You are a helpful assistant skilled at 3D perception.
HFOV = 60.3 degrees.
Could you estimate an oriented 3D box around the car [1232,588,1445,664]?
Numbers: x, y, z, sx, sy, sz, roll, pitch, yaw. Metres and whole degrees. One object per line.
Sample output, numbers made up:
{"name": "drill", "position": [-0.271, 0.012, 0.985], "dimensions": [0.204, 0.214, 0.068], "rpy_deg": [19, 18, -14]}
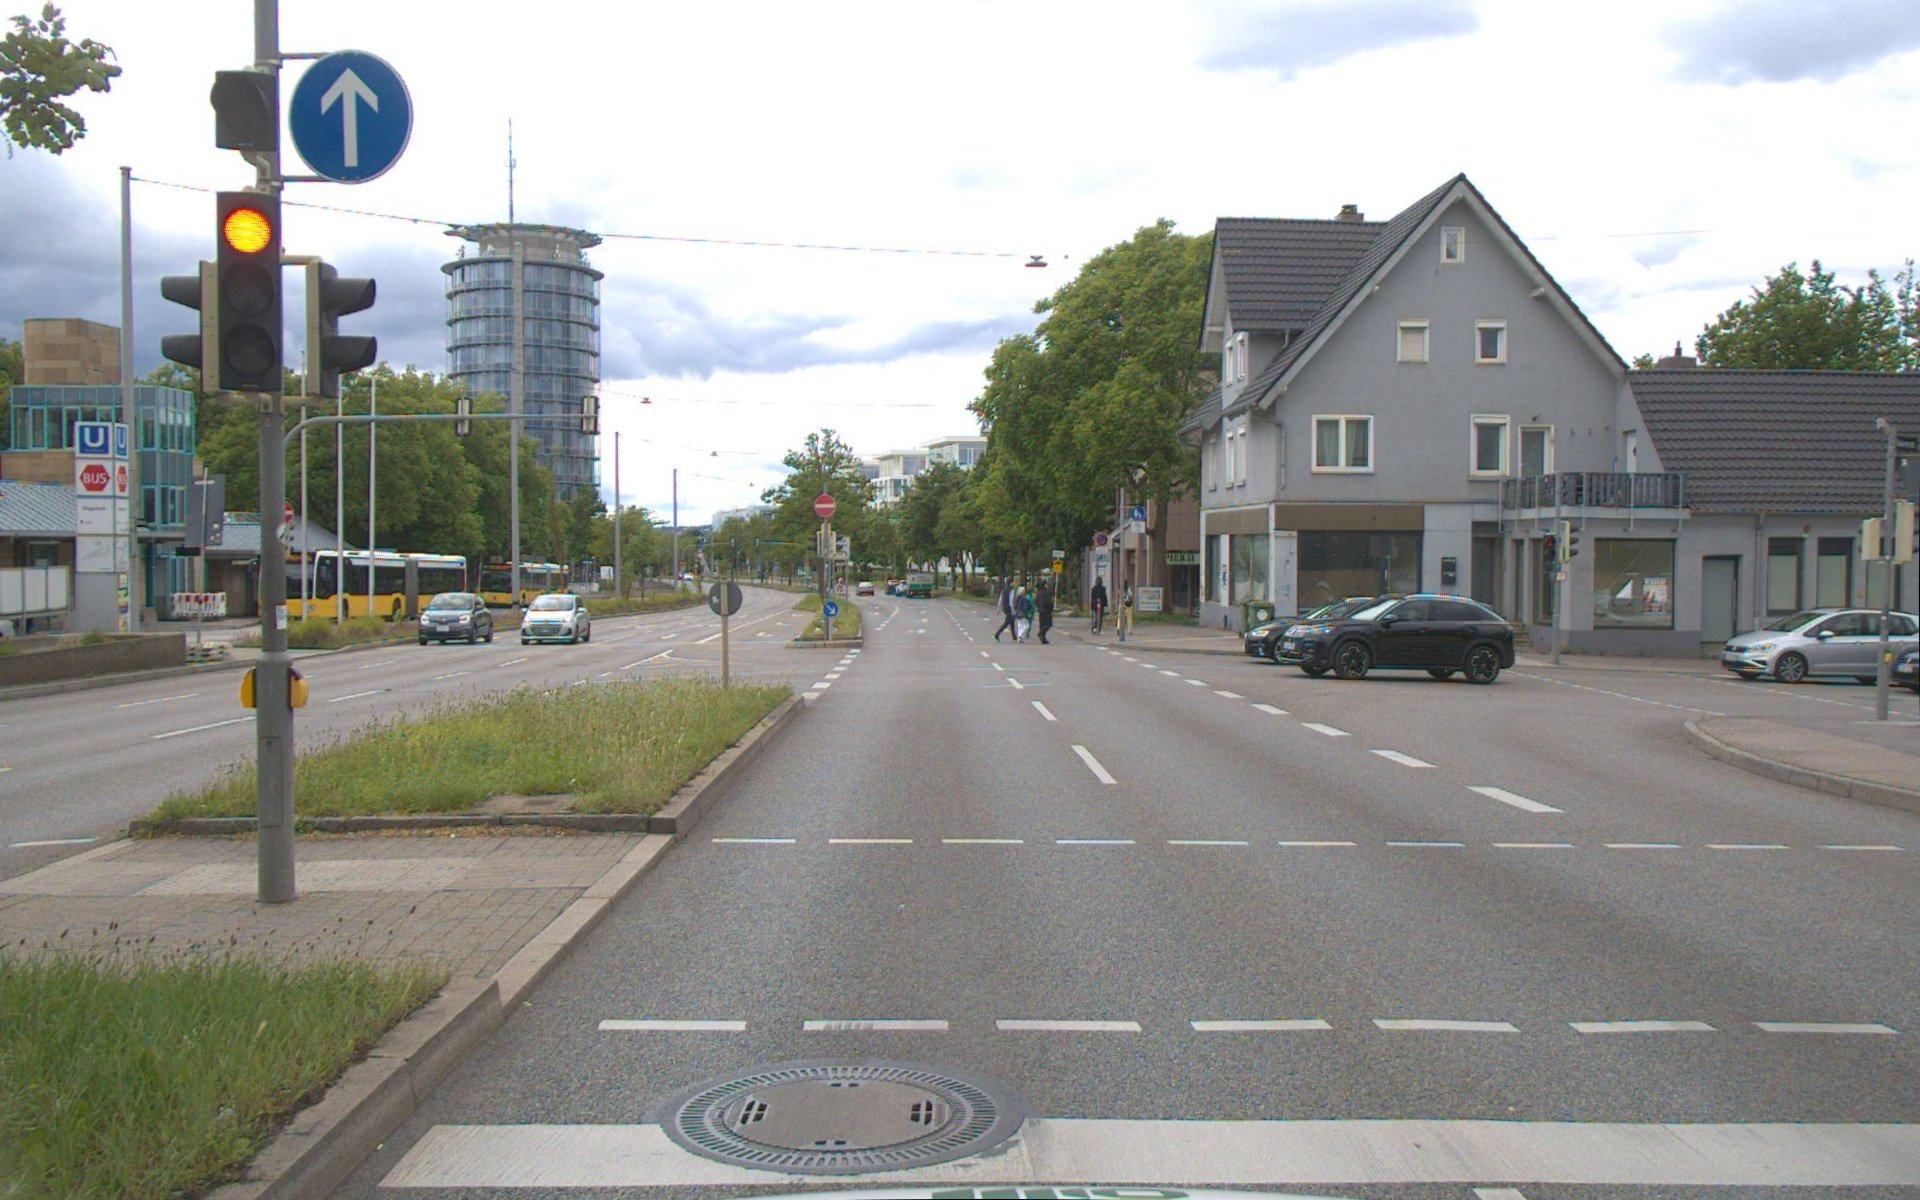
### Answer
{"name": "car", "position": [7.985, 0.520, 35.112], "dimensions": [4.009, 1.521, 1.892], "rpy_deg": [-1, 0, -9]}

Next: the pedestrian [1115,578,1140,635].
{"name": "pedestrian", "position": [5.017, 0.183, 49.646], "dimensions": [0.690, 1.691, 0.870], "rpy_deg": [0, 0, 2]}

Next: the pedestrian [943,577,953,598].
{"name": "pedestrian", "position": [-1.296, -1.399, 184.181], "dimensions": [0.914, 2.349, 1.008], "rpy_deg": [1, -1, -10]}

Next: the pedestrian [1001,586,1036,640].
{"name": "pedestrian", "position": [1.645, 0.361, 46.843], "dimensions": [0.851, 1.533, 0.706], "rpy_deg": [0, 0, -10]}

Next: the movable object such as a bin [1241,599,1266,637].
{"name": "movable object such as a bin", "position": [7.969, 0.483, 44.948], "dimensions": [0.518, 0.997, 0.736], "rpy_deg": [0, 0, -1]}

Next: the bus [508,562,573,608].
{"name": "bus", "position": [-31.149, -1.115, 123.005], "dimensions": [3.081, 3.281, 7.762], "rpy_deg": [0, 0, -2]}

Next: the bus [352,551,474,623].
{"name": "bus", "position": [-26.546, -0.602, 80.712], "dimensions": [2.927, 3.327, 7.879], "rpy_deg": [-1, 0, 3]}

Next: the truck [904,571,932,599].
{"name": "truck", "position": [-3.805, -1.326, 150.588], "dimensions": [2.207, 2.459, 4.927], "rpy_deg": [0, 0, -5]}

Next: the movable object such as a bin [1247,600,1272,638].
{"name": "movable object such as a bin", "position": [7.999, 0.499, 44.158], "dimensions": [0.518, 0.997, 0.736], "rpy_deg": [0, 0, -1]}

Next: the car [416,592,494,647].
{"name": "car", "position": [-15.472, 0.570, 50.809], "dimensions": [1.652, 1.606, 3.344], "rpy_deg": [0, 0, -6]}

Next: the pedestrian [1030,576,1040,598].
{"name": "pedestrian", "position": [5.580, -0.987, 123.133], "dimensions": [0.638, 1.597, 0.669], "rpy_deg": [0, 0, -9]}

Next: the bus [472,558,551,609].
{"name": "bus", "position": [-30.787, -1.101, 114.006], "dimensions": [3.082, 3.281, 10.279], "rpy_deg": [0, 0, -3]}

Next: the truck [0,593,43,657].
{"name": "truck", "position": [-24.327, 0.615, 40.145], "dimensions": [1.953, 1.544, 3.999], "rpy_deg": [0, 0, -1]}

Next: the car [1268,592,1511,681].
{"name": "car", "position": [7.903, 0.643, 30.608], "dimensions": [3.985, 1.547, 1.837], "rpy_deg": [0, 1, -10]}

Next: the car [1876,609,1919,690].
{"name": "car", "position": [20.478, 0.988, 32.332], "dimensions": [4.187, 1.506, 1.715], "rpy_deg": [1, 1, -1]}

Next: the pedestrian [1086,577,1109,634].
{"name": "pedestrian", "position": [4.179, 0.164, 50.158], "dimensions": [0.690, 1.691, 0.871], "rpy_deg": [0, 0, 6]}

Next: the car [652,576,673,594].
{"name": "car", "position": [-35.913, -1.801, 199.736], "dimensions": [1.925, 2.049, 3.999], "rpy_deg": [1, 0, -1]}

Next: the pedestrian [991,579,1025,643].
{"name": "pedestrian", "position": [1.386, 0.306, 47.643], "dimensions": [0.851, 1.811, 0.706], "rpy_deg": [0, 0, -10]}

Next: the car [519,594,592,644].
{"name": "car", "position": [-12.364, 0.555, 50.721], "dimensions": [1.651, 1.488, 3.552], "rpy_deg": [0, 0, -5]}

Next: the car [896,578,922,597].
{"name": "car", "position": [-5.030, -1.212, 162.226], "dimensions": [2.207, 1.787, 4.927], "rpy_deg": [0, 0, -5]}

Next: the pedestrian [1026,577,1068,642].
{"name": "pedestrian", "position": [2.412, 0.262, 46.016], "dimensions": [1.030, 1.791, 0.706], "rpy_deg": [0, 0, -10]}

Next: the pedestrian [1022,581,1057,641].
{"name": "pedestrian", "position": [2.407, 0.333, 50.280], "dimensions": [0.854, 1.811, 0.704], "rpy_deg": [0, 0, -19]}

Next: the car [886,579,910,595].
{"name": "car", "position": [-6.489, -1.367, 173.587], "dimensions": [2.207, 1.676, 4.927], "rpy_deg": [0, 0, -6]}

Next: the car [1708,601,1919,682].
{"name": "car", "position": [18.196, 0.860, 34.864], "dimensions": [4.017, 1.567, 1.828], "rpy_deg": [2, 0, -1]}

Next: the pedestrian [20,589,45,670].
{"name": "pedestrian", "position": [-18.617, 0.583, 33.195], "dimensions": [0.414, 1.619, 0.353], "rpy_deg": [0, 0, -30]}

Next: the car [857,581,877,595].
{"name": "car", "position": [-9.678, -1.235, 172.539], "dimensions": [1.929, 1.444, 4.017], "rpy_deg": [0, 0, -6]}

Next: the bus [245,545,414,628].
{"name": "bus", "position": [-27.083, -0.551, 71.688], "dimensions": [2.927, 3.307, 10.174], "rpy_deg": [-1, 0, 3]}
